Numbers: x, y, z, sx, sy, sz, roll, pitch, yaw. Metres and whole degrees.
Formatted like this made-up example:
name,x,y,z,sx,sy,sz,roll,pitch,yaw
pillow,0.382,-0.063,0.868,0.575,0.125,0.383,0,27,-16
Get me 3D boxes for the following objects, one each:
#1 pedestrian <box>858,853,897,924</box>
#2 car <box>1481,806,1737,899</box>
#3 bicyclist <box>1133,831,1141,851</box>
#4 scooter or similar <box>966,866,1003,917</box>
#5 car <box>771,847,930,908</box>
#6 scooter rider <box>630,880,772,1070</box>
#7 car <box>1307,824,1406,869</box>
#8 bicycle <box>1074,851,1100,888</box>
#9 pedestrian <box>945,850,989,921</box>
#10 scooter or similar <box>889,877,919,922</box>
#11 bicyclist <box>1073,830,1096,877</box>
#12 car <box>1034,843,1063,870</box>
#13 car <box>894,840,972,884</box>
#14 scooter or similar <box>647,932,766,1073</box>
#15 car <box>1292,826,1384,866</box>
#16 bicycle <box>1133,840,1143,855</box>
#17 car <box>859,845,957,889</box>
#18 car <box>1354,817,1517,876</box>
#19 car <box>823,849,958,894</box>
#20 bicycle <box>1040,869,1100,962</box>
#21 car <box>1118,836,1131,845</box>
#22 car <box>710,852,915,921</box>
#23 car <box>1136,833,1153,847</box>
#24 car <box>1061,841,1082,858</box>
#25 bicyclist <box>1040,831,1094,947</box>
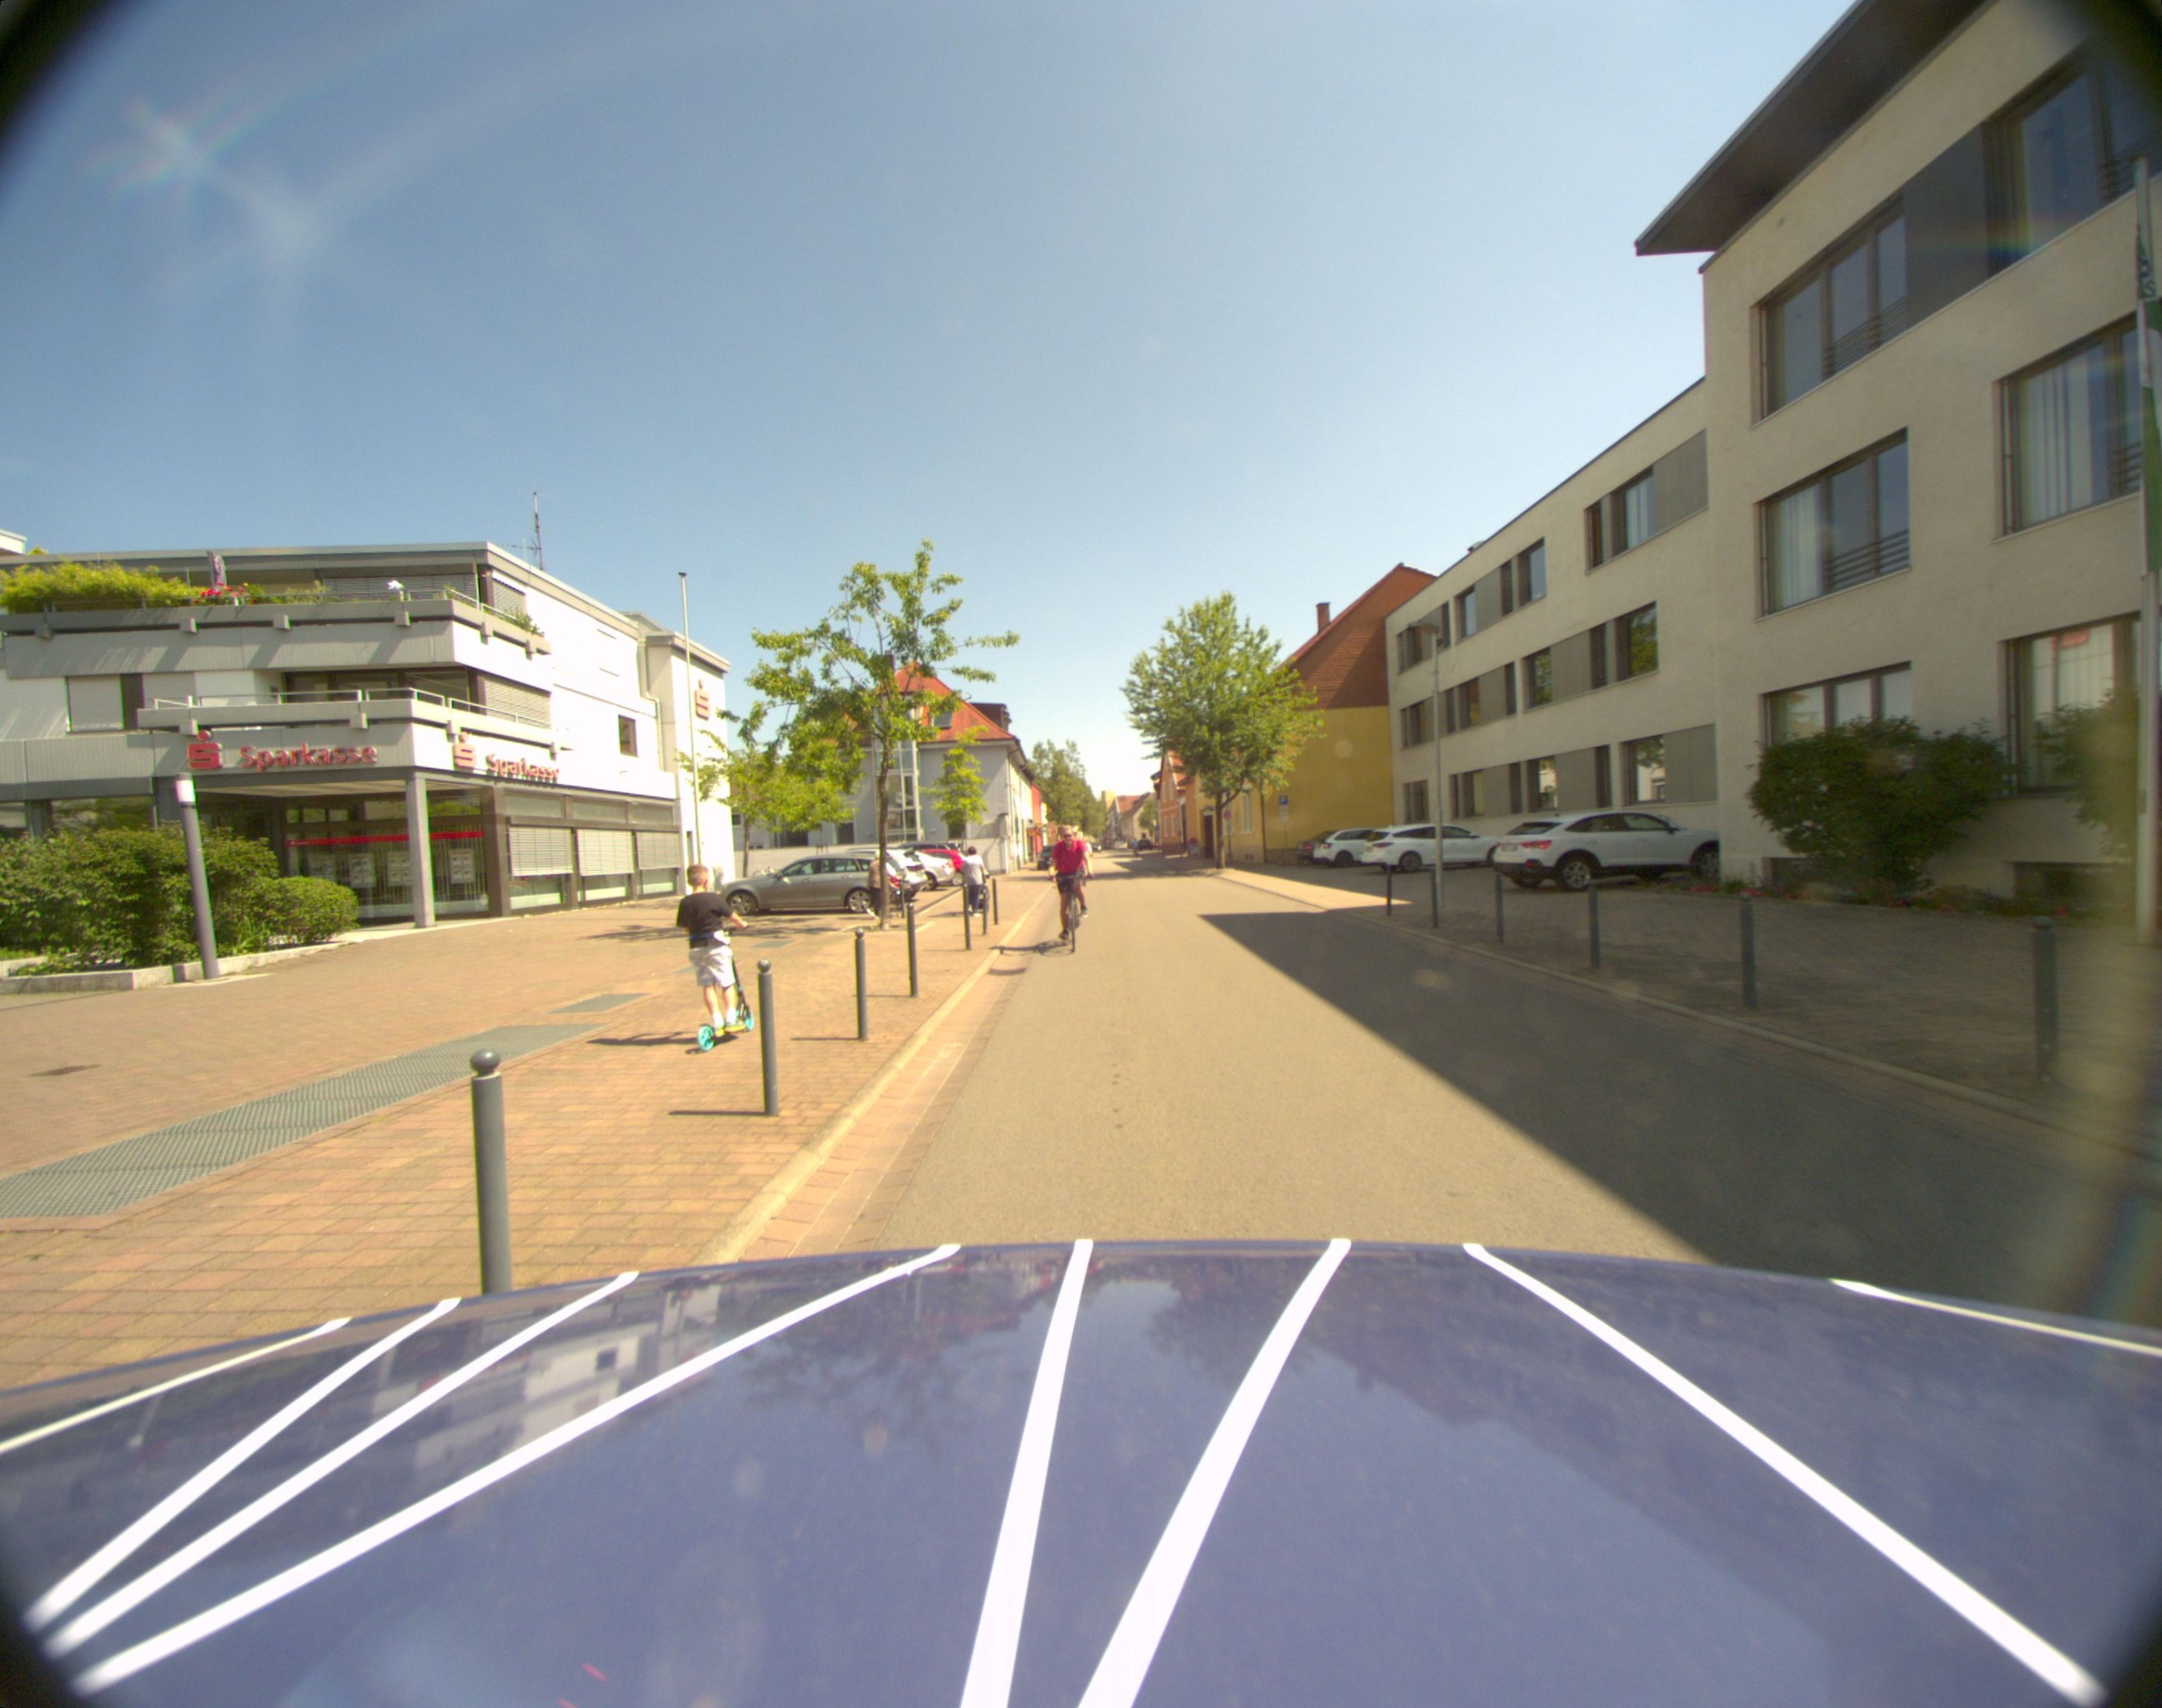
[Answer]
name,x,y,z,sx,sy,sz,roll,pitch,yaw
pedestrian,-4.517,0.747,16.815,0.725,1.492,0.531,-3,2,-20
car,10.689,-0.047,15.591,3.997,1.539,1.748,-4,1,0
bicyclist,4.657,-1.115,62.865,0.538,1.630,0.551,-2,2,0
scooter or similar,-2.228,0.866,17.667,0.505,1.112,0.910,-1,2,16
car,-6.462,0.621,21.682,4.046,1.551,1.711,-1,1,-5
scooter rider,-3.005,0.911,6.118,0.462,1.317,1.133,-2,2,3
car,10.468,-0.289,29.051,3.138,1.442,1.642,-4,1,2
bicycle,0.196,0.523,26.726,0.690,1.183,1.798,-6,2,-2
pedestrian,-2.501,0.668,16.725,0.512,1.507,1.049,-1,1,17
scooter or similar,-3.965,1.008,17.029,0.547,0.940,0.535,-3,2,-20
bicyclist,0.121,-0.029,26.819,0.703,1.573,0.878,-4,2,-2
car,-1.934,0.095,44.467,1.530,1.444,3.519,-2,1,-4
car,-6.119,0.327,31.633,3.041,1.727,1.344,-1,1,-4
scooter or similar,-3.005,1.161,6.167,0.411,0.959,0.960,-2,0,3
car,10.545,-0.322,31.260,3.258,1.393,1.374,-4,1,0
bicycle,4.678,-0.580,62.792,0.595,1.183,1.724,-3,2,-1
car,-6.672,0.485,29.503,3.430,1.543,1.490,-2,1,-4
car,11.044,-0.244,23.849,4.323,1.470,1.513,-4,2,1
car,-6.668,0.594,26.970,4.446,1.434,1.655,-1,1,-7
bicycle,-0.198,0.899,11.845,0.738,1.183,1.970,-6,2,-2
car,7.974,-2.489,139.085,1.998,1.696,3.999,-2,1,0
car,-6.507,0.759,18.818,4.445,1.457,1.689,-1,2,-5
car,8.459,-1.852,101.591,1.825,1.805,3.999,-2,1,0
car,-0.798,-0.404,63.904,1.530,1.298,3.248,-1,1,-5
bicyclist,-0.220,0.513,11.743,0.703,1.707,0.759,-4,3,-2
